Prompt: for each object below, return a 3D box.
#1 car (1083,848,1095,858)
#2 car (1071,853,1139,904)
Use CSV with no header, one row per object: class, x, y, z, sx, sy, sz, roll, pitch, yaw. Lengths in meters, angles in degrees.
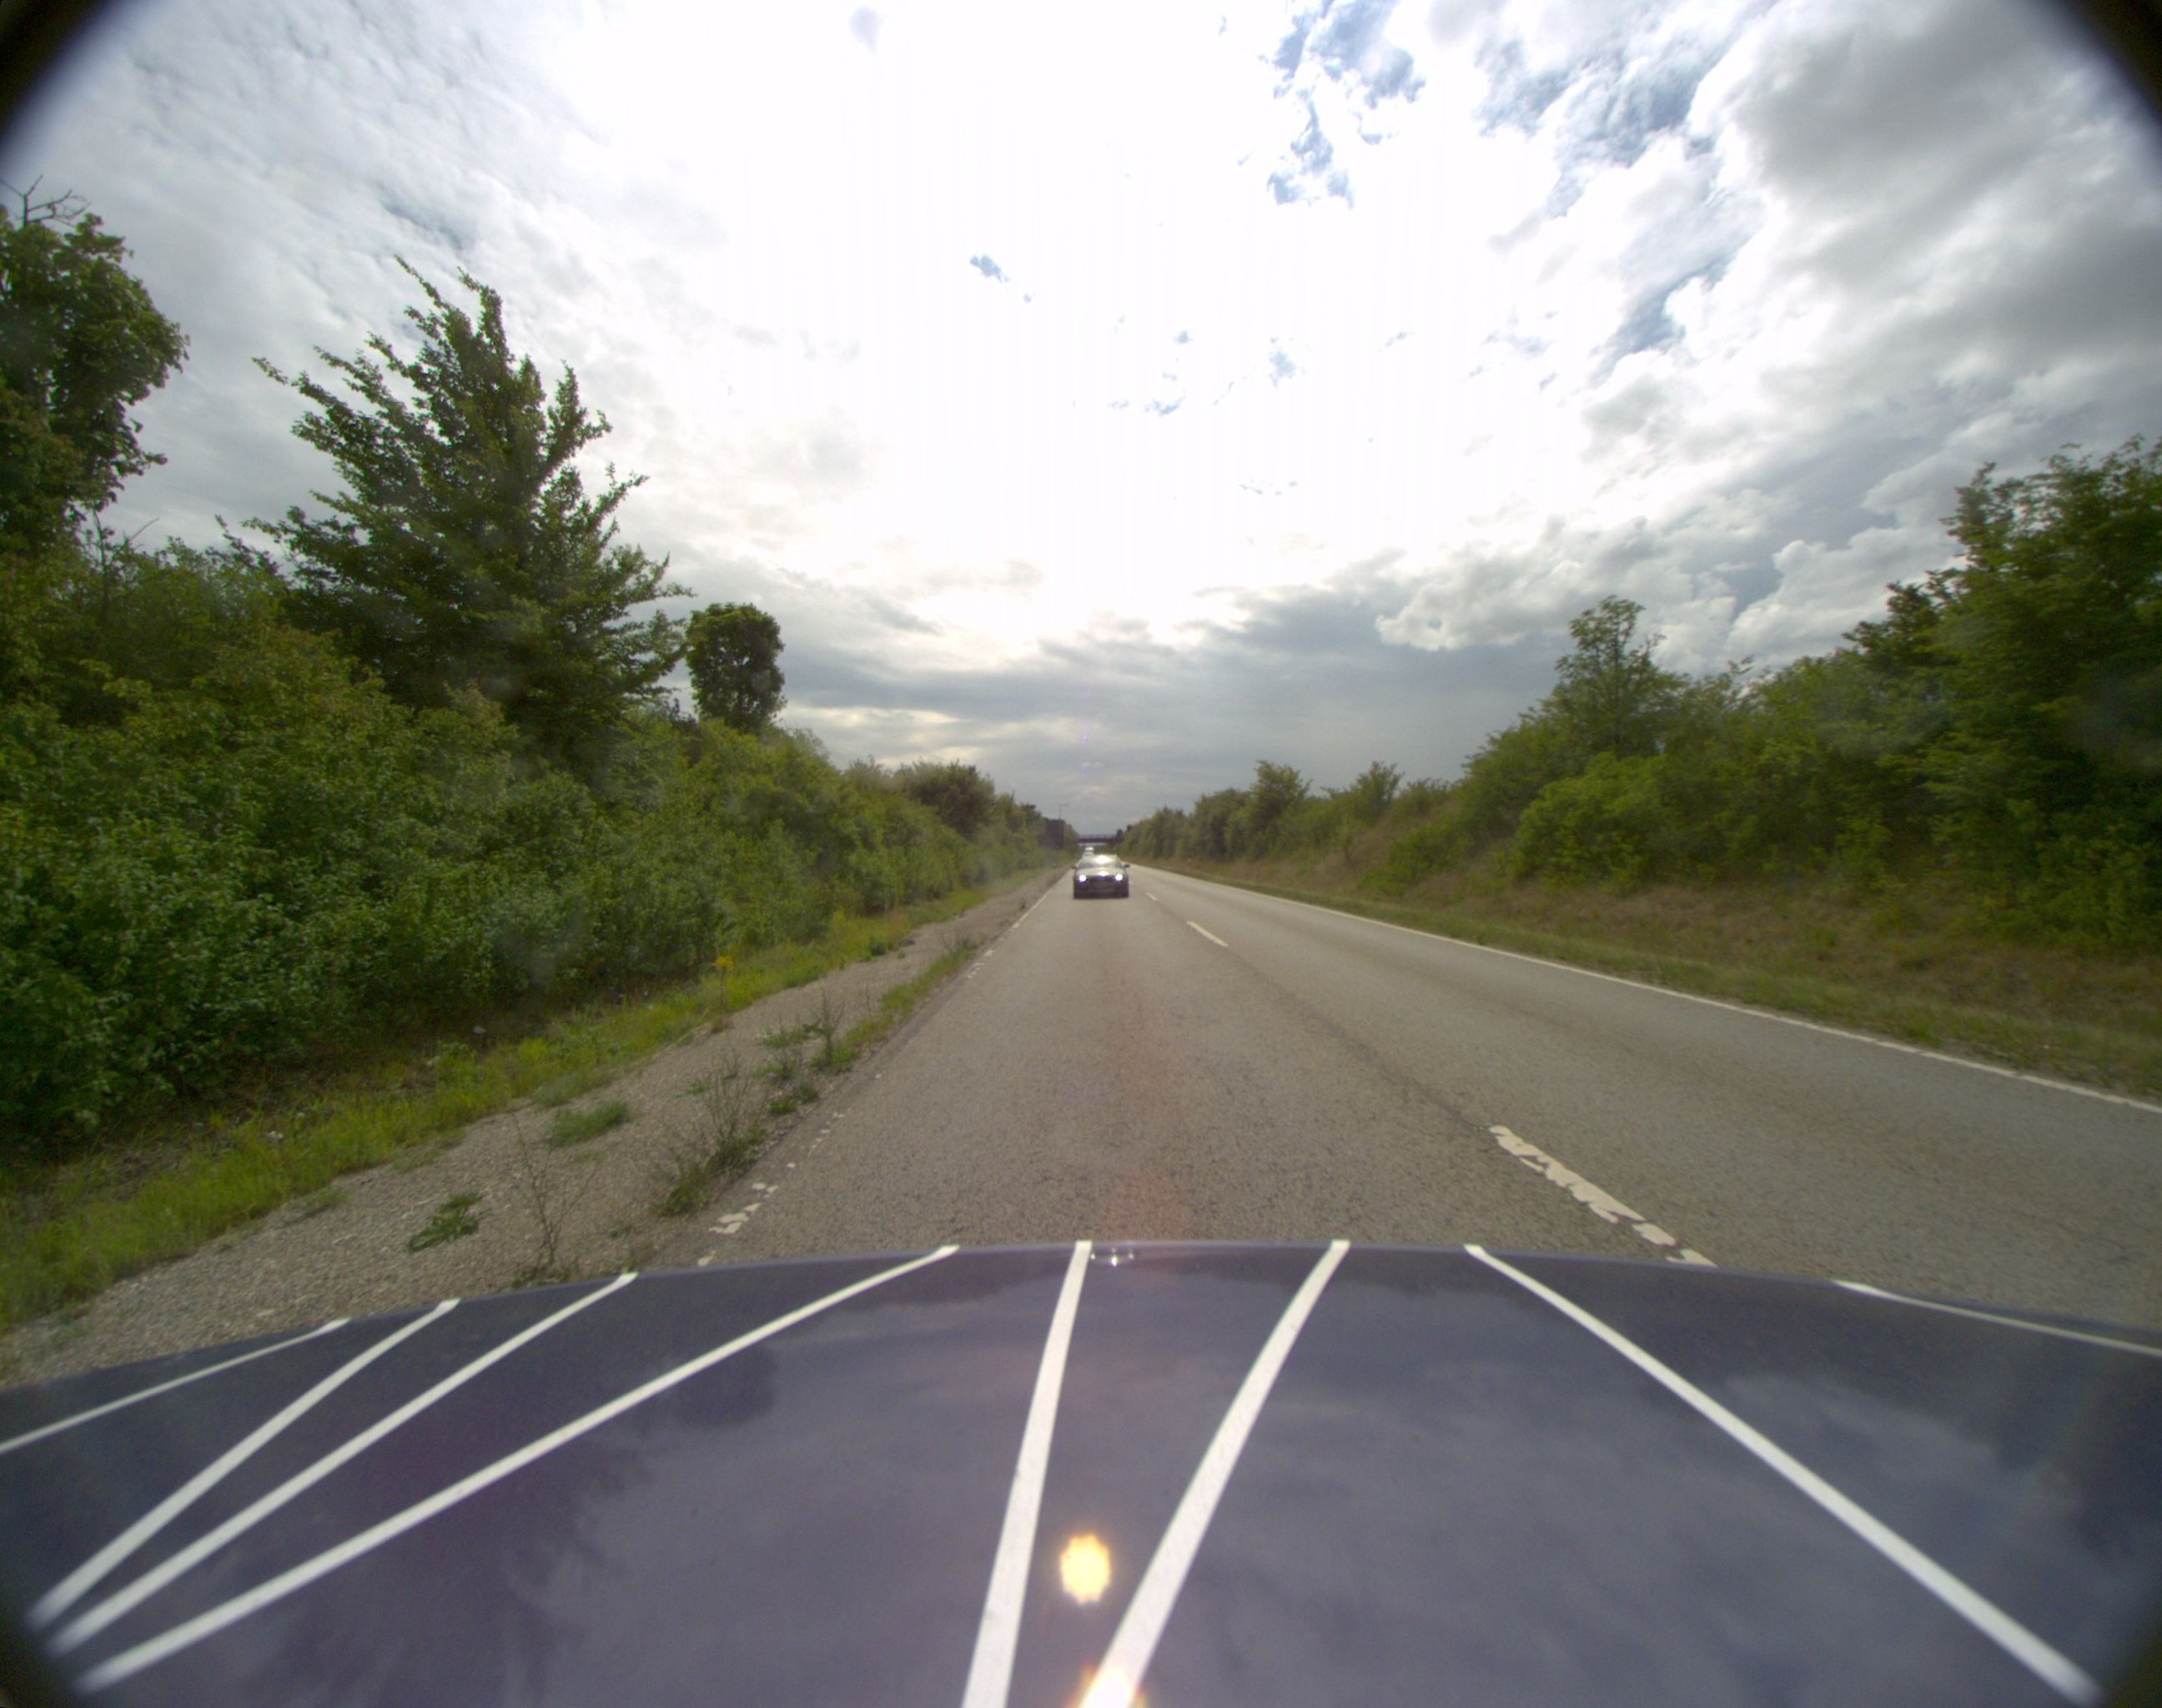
car,1.352,-0.199,127.350,1.870,1.597,3.999,-1,1,0
car,0.746,0.727,25.079,1.998,1.436,4.640,-2,1,0
